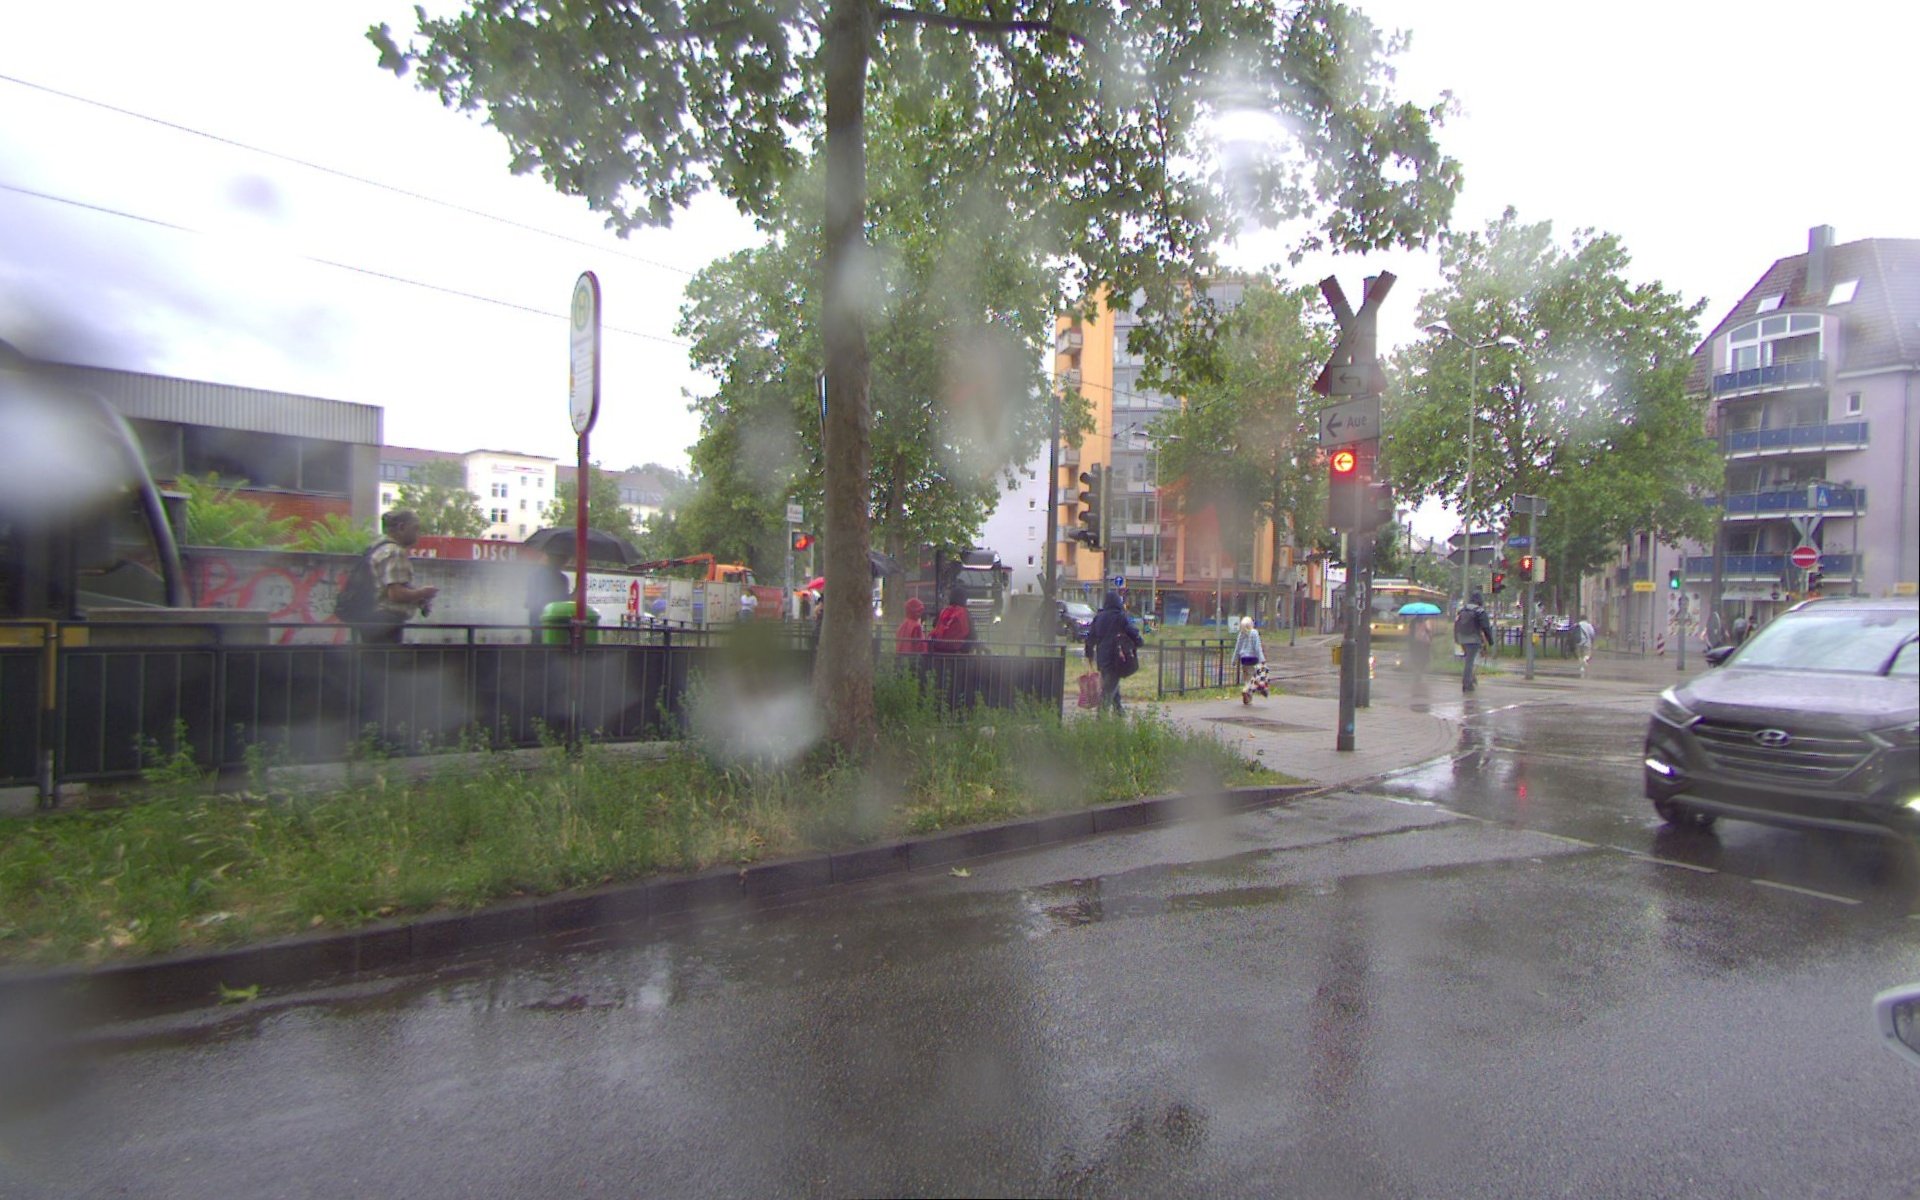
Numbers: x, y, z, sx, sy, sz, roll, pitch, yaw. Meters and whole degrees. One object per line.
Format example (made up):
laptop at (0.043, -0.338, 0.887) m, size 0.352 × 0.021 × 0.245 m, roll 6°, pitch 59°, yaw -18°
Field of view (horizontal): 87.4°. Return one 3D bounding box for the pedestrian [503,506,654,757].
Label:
pedestrian at (-3.109, 0.239, 8.176) m, size 0.885 × 1.889 × 0.861 m, roll 1°, pitch 0°, yaw -42°

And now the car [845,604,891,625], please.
car at (-8.305, 1.307, 90.952) m, size 3.930 × 1.808 × 1.996 m, roll 2°, pitch 0°, yaw -12°

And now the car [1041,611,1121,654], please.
car at (4.809, 1.273, 40.515) m, size 1.585 × 1.551 × 4.017 m, roll 1°, pitch 1°, yaw -19°

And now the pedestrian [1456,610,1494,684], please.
pedestrian at (10.246, 0.923, 19.999) m, size 0.638 × 1.414 × 0.782 m, roll 1°, pitch 0°, yaw 26°

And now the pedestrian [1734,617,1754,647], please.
pedestrian at (35.490, 1.449, 45.453) m, size 0.550 × 1.347 × 0.446 m, roll 2°, pitch 0°, yaw 12°

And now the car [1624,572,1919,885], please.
car at (6.859, 0.743, 7.189) m, size 4.551 × 1.705 × 1.794 m, roll 1°, pitch -1°, yaw -32°

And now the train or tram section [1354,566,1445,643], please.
train or tram section at (25.951, 0.381, 58.630) m, size 2.839 × 3.818 × 17.211 m, roll 2°, pitch 0°, yaw 30°

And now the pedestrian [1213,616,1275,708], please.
pedestrian at (4.449, 0.951, 15.728) m, size 0.704 × 1.367 × 0.650 m, roll 1°, pitch 1°, yaw -44°

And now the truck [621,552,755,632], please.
truck at (-11.773, -0.325, 43.642) m, size 5.383 × 3.205 × 2.164 m, roll 2°, pitch 0°, yaw -16°

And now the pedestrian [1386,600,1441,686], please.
pedestrian at (9.814, 0.908, 21.744) m, size 0.943 × 1.789 × 0.951 m, roll 2°, pitch 0°, yaw 31°

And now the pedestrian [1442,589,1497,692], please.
pedestrian at (9.536, 0.738, 18.791) m, size 0.777 × 1.880 × 0.679 m, roll 2°, pitch 1°, yaw 37°

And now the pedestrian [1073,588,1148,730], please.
pedestrian at (1.906, 0.722, 12.657) m, size 0.823 × 1.721 × 0.689 m, roll -1°, pitch 0°, yaw 17°

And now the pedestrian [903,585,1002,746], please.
pedestrian at (-0.086, 0.673, 10.843) m, size 0.809 × 1.646 × 0.724 m, roll 0°, pitch 0°, yaw -37°

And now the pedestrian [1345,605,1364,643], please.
pedestrian at (23.219, 1.387, 59.149) m, size 0.871 × 2.179 × 0.910 m, roll 2°, pitch 0°, yaw 29°

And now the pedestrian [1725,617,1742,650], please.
pedestrian at (35.736, 1.546, 46.397) m, size 0.442 × 1.477 × 0.554 m, roll 2°, pitch 0°, yaw -44°

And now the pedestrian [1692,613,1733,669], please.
pedestrian at (21.364, 1.154, 28.516) m, size 0.785 × 1.553 × 0.743 m, roll 2°, pitch 0°, yaw -41°

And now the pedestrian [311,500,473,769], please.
pedestrian at (-4.104, 0.227, 7.251) m, size 0.825 × 1.778 × 0.856 m, roll 1°, pitch 1°, yaw -43°

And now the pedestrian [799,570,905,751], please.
pedestrian at (-1.061, 0.585, 9.926) m, size 0.783 × 1.705 × 0.659 m, roll -2°, pitch 0°, yaw 23°

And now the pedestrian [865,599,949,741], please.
pedestrian at (-0.605, 0.764, 11.394) m, size 0.653 × 1.540 × 0.676 m, roll 1°, pitch 0°, yaw -39°

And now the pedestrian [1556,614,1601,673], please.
pedestrian at (17.536, 1.217, 28.479) m, size 0.956 × 1.622 × 0.670 m, roll 2°, pitch 0°, yaw -30°

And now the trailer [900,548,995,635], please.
trailer at (-0.857, -0.378, 50.769) m, size 2.593 × 3.899 × 10.114 m, roll 2°, pitch 0°, yaw -13°

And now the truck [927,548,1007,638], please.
truck at (0.238, -0.308, 46.079) m, size 2.593 × 3.842 × 4.444 m, roll 2°, pitch 0°, yaw -13°

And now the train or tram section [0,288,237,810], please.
train or tram section at (-11.669, -0.482, 4.403) m, size 13.607 × 3.593 × 2.835 m, roll 2°, pitch 0°, yaw -41°
